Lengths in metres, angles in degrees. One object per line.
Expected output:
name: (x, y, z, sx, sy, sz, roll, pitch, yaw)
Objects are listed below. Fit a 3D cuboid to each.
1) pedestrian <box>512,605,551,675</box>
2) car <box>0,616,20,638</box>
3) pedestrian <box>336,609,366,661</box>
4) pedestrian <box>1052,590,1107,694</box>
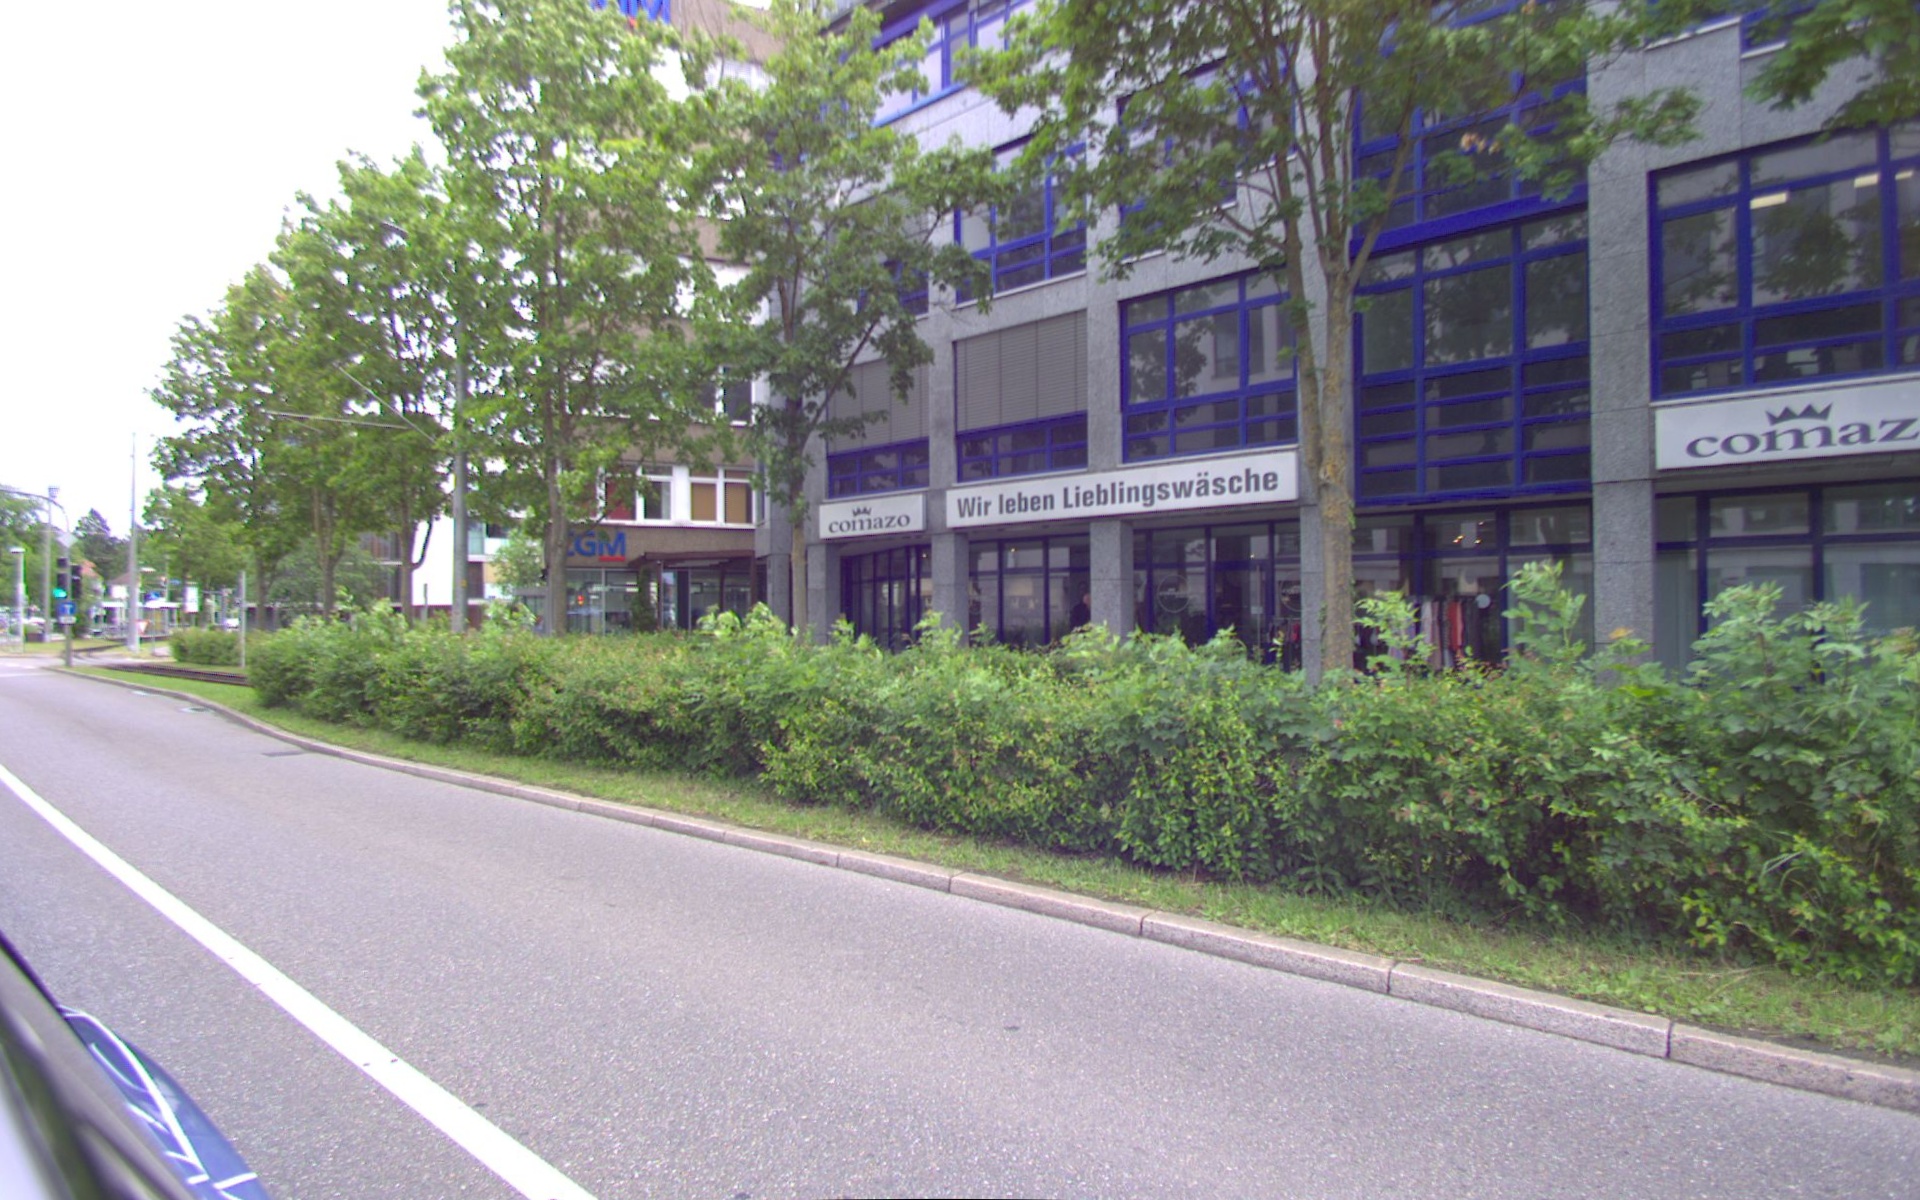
pedestrian: (-11.257, 1.038, 26.582, 0.730, 1.819, 0.672, -1, 0, 37)
car: (-89.810, 2.493, 94.427, 1.965, 2.029, 4.013, 0, 0, -25)
pedestrian: (-23.092, 1.301, 38.379, 0.731, 1.938, 0.805, -1, 0, 40)
pedestrian: (2.260, 0.775, 19.158, 0.731, 1.908, 0.766, -1, 0, 40)
